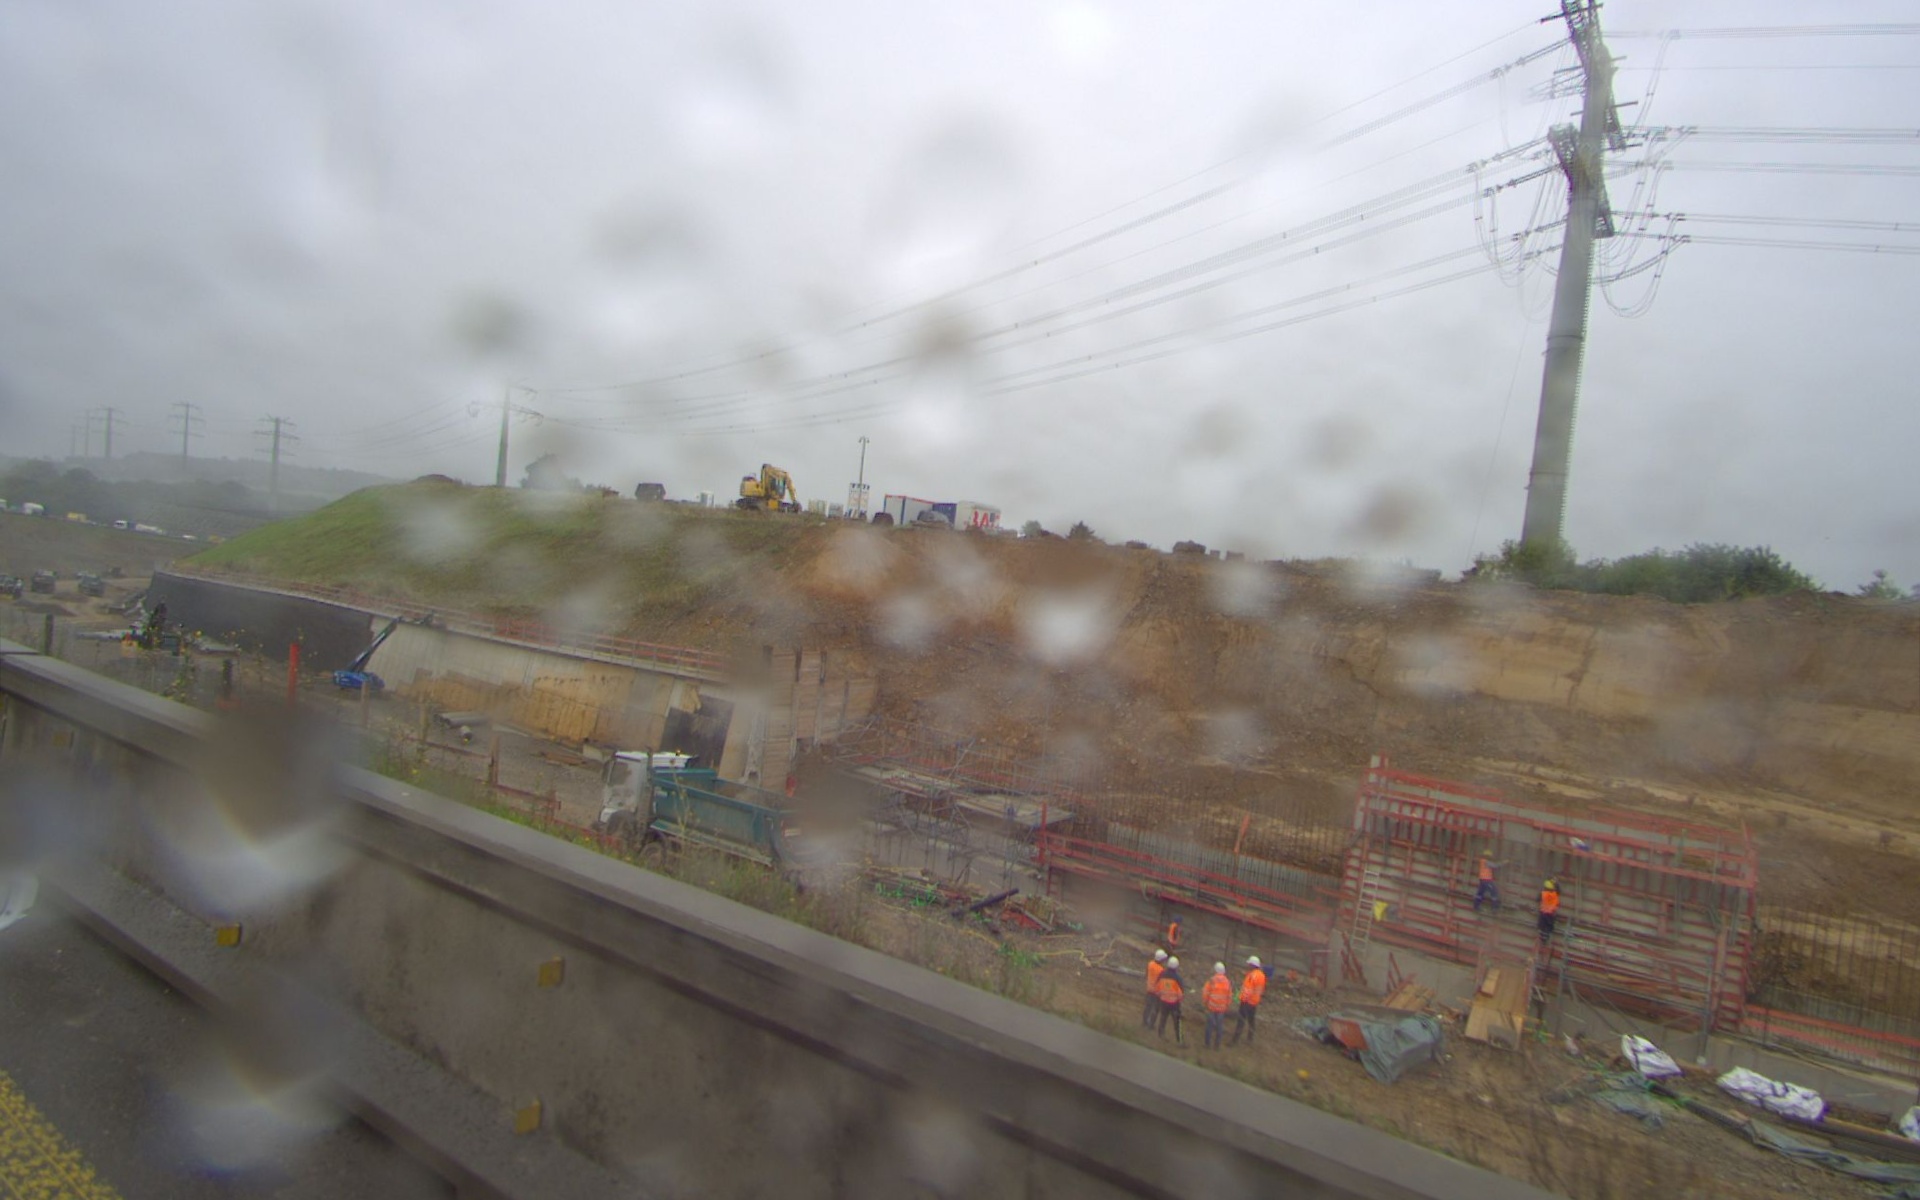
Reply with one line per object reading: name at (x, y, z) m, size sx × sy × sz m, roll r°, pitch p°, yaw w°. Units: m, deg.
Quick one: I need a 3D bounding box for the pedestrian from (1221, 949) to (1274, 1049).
pedestrian at (6.313, 8.742, 22.084) m, size 0.725 × 1.967 × 0.573 m, roll 7°, pitch -1°, yaw -21°

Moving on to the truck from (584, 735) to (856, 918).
truck at (-7.601, 6.632, 31.012) m, size 8.926 × 3.531 × 2.731 m, roll 6°, pitch -2°, yaw 36°

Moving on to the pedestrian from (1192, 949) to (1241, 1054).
pedestrian at (5.516, 8.629, 21.676) m, size 0.721 × 1.967 × 0.575 m, roll 7°, pitch 0°, yaw 3°

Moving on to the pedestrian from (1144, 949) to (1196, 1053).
pedestrian at (4.513, 8.603, 21.659) m, size 0.724 × 1.892 × 0.573 m, roll 6°, pitch -1°, yaw 38°

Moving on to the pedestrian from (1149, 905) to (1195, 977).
pedestrian at (6.830, 10.970, 32.406) m, size 0.891 × 2.013 × 0.901 m, roll 6°, pitch -11°, yaw 35°

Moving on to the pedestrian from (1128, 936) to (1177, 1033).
pedestrian at (4.312, 8.611, 22.583) m, size 0.567 × 1.892 × 0.731 m, roll 7°, pitch -1°, yaw -22°

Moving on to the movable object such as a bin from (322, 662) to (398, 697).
movable object such as a bin at (-40.751, 5.394, 68.400) m, size 3.772 × 2.035 × 2.001 m, roll 6°, pitch -4°, yaw -5°

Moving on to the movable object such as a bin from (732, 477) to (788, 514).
movable object such as a bin at (-16.712, -8.693, 83.946) m, size 3.910 × 2.473 × 2.428 m, roll 8°, pitch 0°, yaw 39°

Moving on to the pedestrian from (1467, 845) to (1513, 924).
pedestrian at (15.389, 8.264, 29.194) m, size 0.885 × 2.013 × 0.908 m, roll 5°, pitch -11°, yaw 36°

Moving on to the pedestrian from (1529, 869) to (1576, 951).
pedestrian at (16.634, 8.702, 28.242) m, size 0.885 × 2.013 × 0.908 m, roll 5°, pitch -11°, yaw 36°
